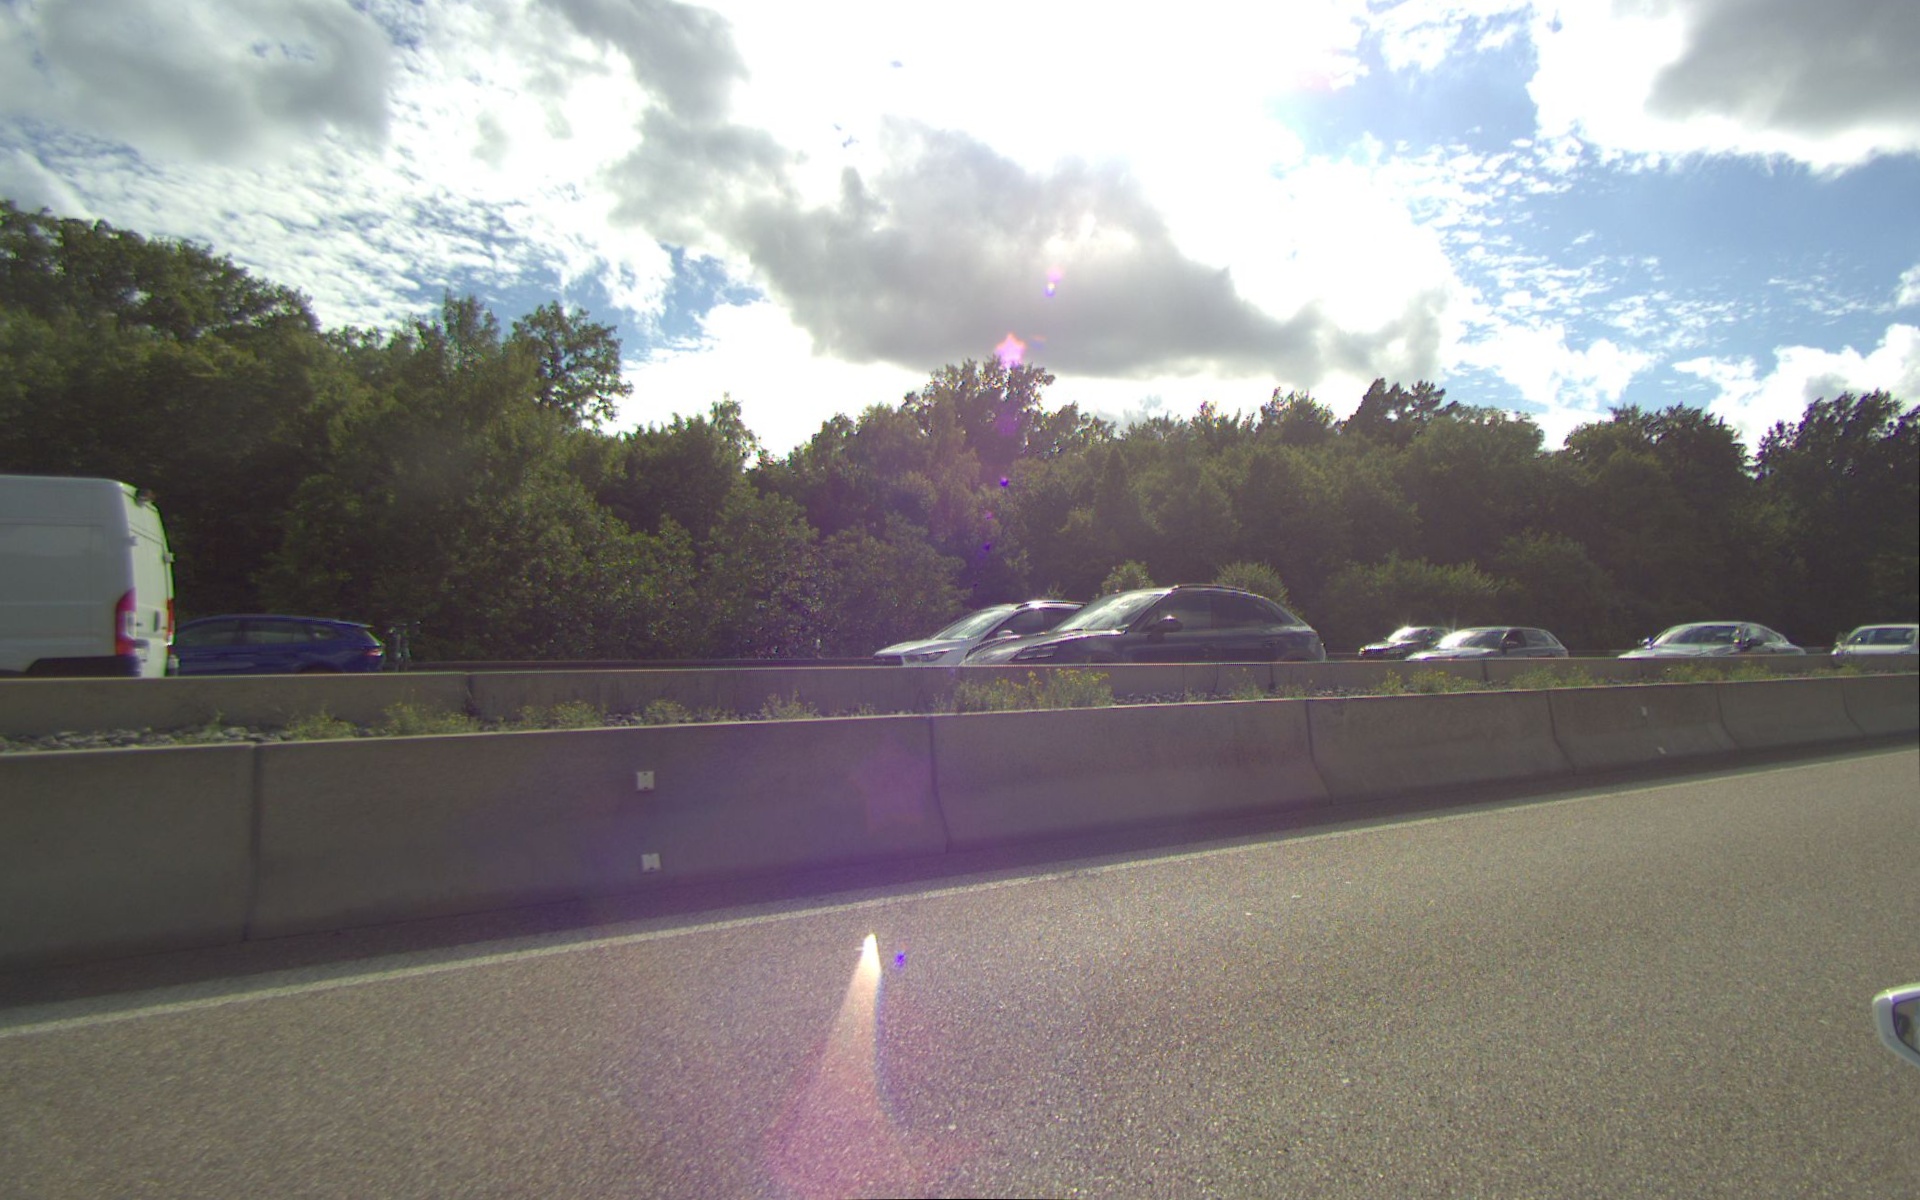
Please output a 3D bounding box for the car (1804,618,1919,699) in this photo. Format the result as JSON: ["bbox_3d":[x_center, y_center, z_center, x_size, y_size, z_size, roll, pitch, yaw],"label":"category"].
[{"bbox_3d":[22.933,1.369,24.571,5.032,1.758,1.983,1,0,-31],"label":"car"}]

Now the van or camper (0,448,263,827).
[{"bbox_3d":[-9.889,0.273,8.671,6.175,3.215,2.127,1,0,-32],"label":"van or camper"}]

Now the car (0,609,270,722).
[{"bbox_3d":[-13.486,0.987,15.550,4.374,1.556,1.984,3,-1,-30],"label":"car"}]

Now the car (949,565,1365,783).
[{"bbox_3d":[2.287,0.740,11.342,4.465,2.040,1.874,1,0,-30],"label":"car"}]

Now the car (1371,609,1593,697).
[{"bbox_3d":[10.938,1.117,21.009,4.471,1.617,1.984,3,-1,-30],"label":"car"}]

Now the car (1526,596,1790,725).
[{"bbox_3d":[12.544,1.001,17.974,5.030,2.040,1.896,1,0,-30],"label":"car"}]

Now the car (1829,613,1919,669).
[{"bbox_3d":[31.705,1.356,34.024,4.705,1.756,1.984,1,0,-30],"label":"car"}]

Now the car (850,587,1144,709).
[{"bbox_3d":[0.578,0.720,15.181,3.953,1.617,1.984,3,-1,-30],"label":"car"}]
